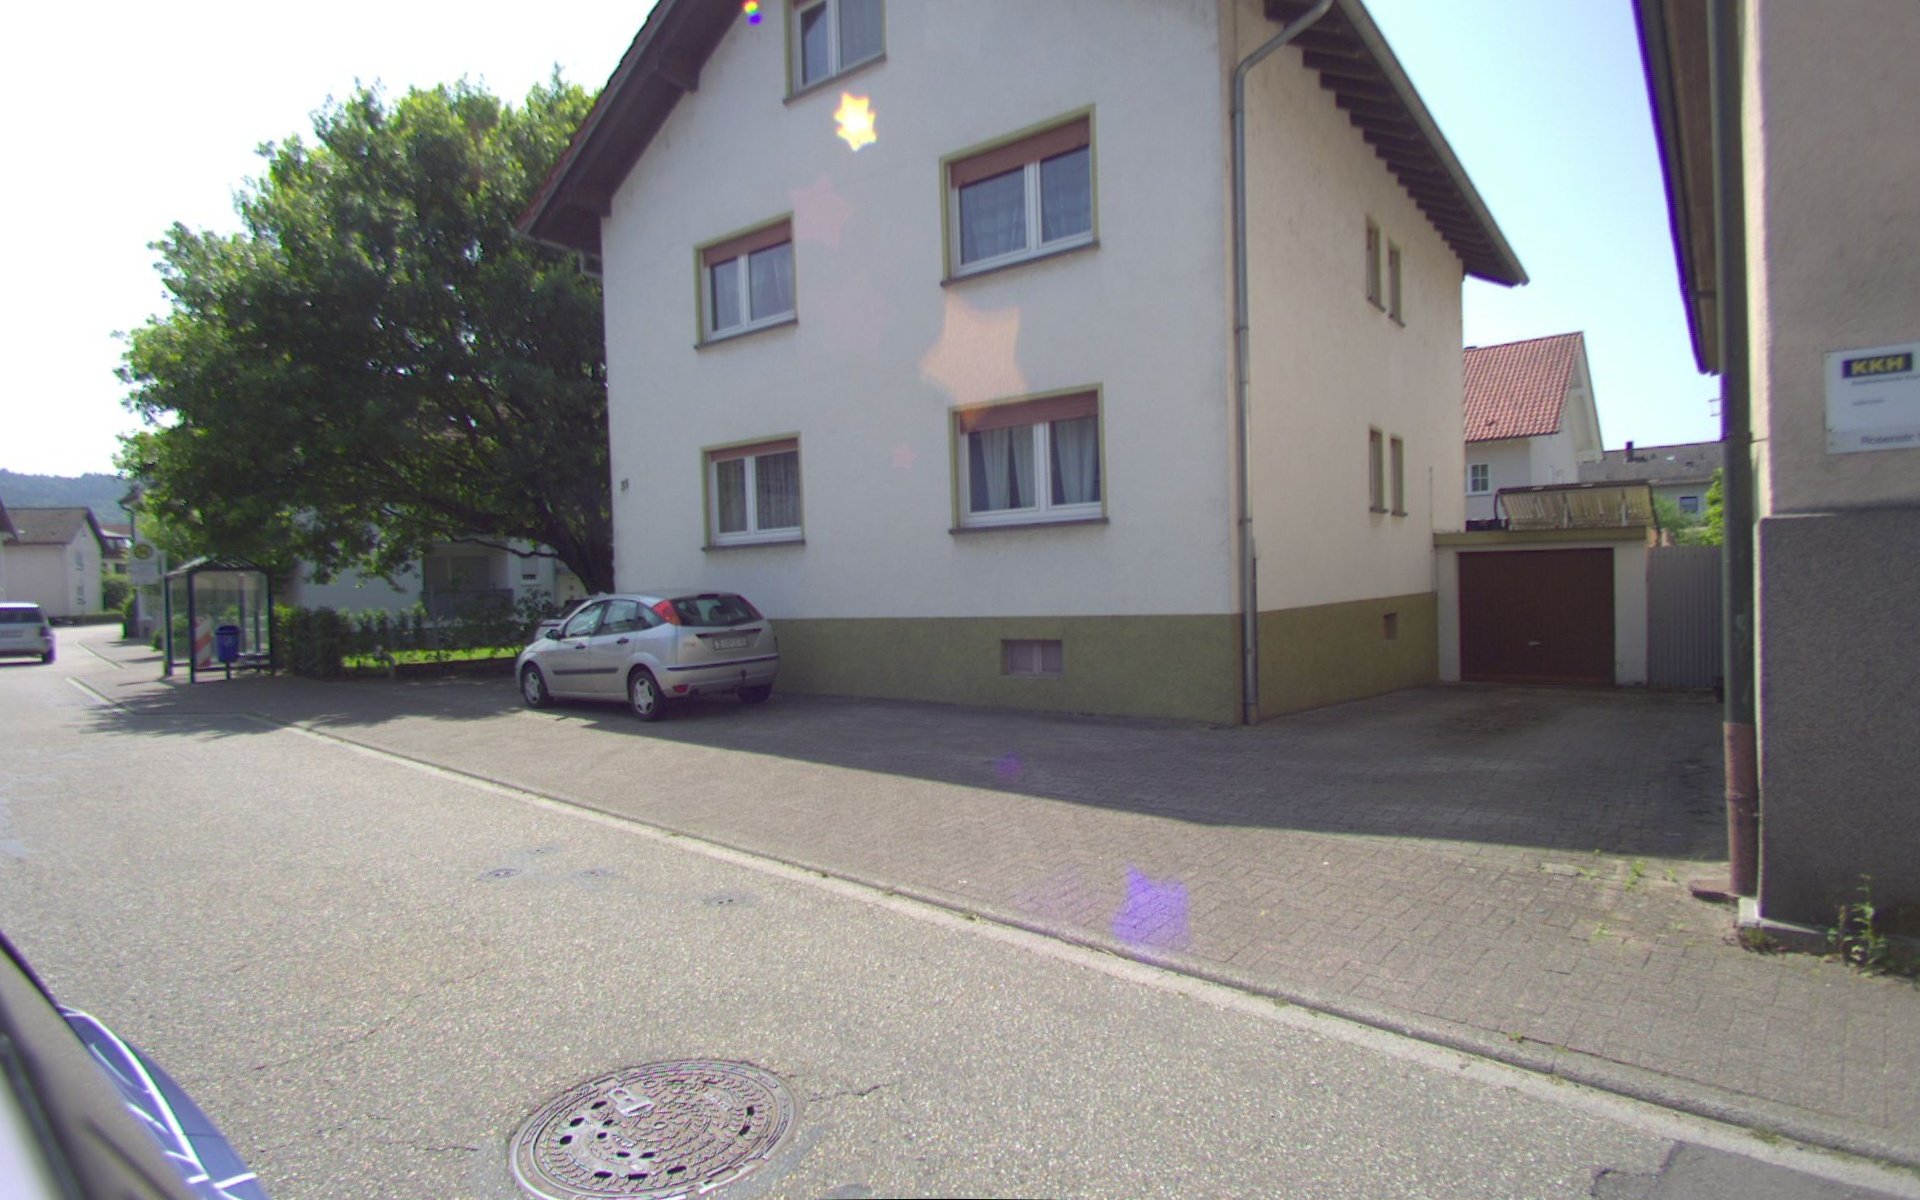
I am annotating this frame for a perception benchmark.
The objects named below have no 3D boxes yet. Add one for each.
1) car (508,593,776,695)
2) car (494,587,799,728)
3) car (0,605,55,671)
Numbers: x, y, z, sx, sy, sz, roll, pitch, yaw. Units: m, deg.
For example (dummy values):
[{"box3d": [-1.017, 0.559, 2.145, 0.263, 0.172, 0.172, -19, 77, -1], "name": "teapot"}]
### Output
[{"box3d": [-5.388, 0.686, 17.545, 1.773, 1.550, 4.115, -2, -1, 42], "name": "car"}, {"box3d": [-4.038, 0.652, 12.707, 4.053, 1.445, 1.760, -2, 1, 41], "name": "car"}, {"box3d": [-27.805, 1.078, 29.571, 1.863, 1.780, 4.334, 0, -1, -44], "name": "car"}]
